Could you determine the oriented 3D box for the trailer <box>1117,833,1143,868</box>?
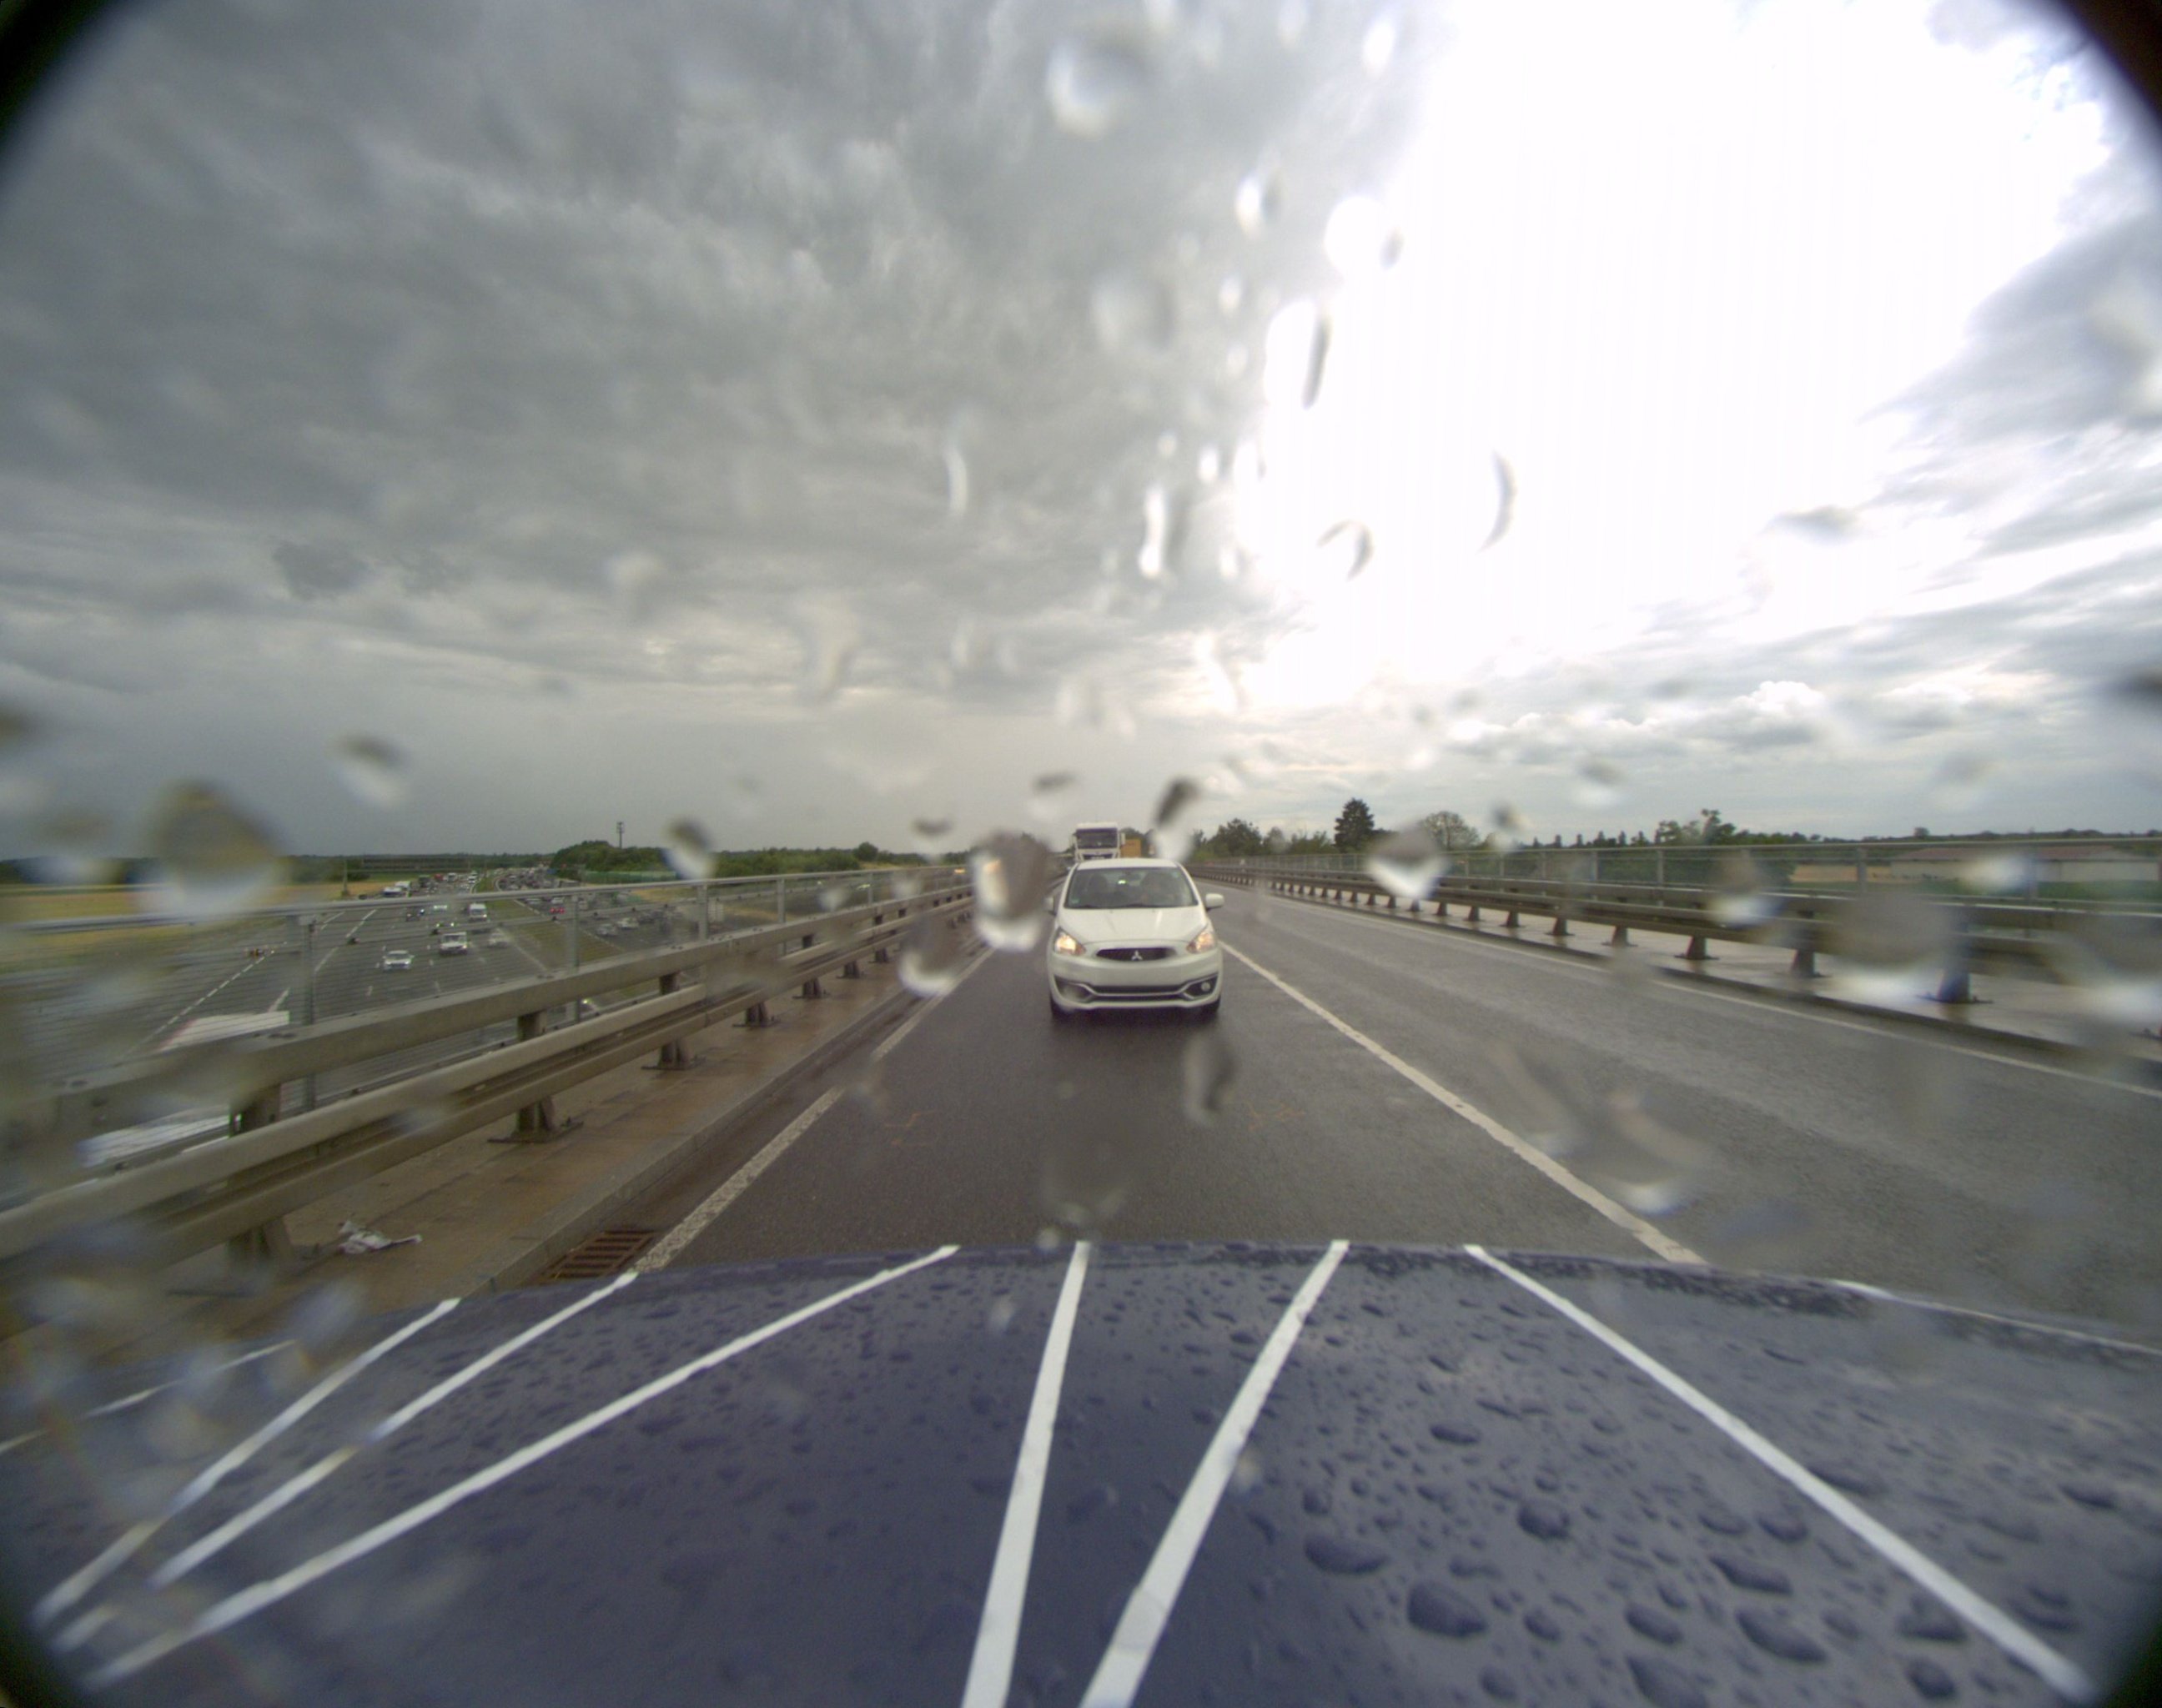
[{"bbox_3d":[5.983,-0.380,94.075,2.689,4.051,8.485,-2,0,1],"label":"trailer"}]

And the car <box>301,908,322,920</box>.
[{"bbox_3d":[-113.844,8.915,112.481,1.818,1.427,4.711,-3,1,-41],"label":"car"}]

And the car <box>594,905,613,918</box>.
[{"bbox_3d":[-73.859,8.880,117.488,1.860,1.659,4.712,-3,1,-40],"label":"car"}]

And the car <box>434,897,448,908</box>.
[{"bbox_3d":[-118.761,8.958,141.083,1.860,1.659,4.712,-3,1,-40],"label":"car"}]

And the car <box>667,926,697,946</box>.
[{"bbox_3d":[-42.762,8.720,81.369,1.860,1.659,4.712,-3,1,-40],"label":"car"}]

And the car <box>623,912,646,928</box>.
[{"bbox_3d":[-59.077,8.729,100.437,1.860,1.659,4.712,-3,1,-40],"label":"car"}]

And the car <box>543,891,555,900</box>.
[{"bbox_3d":[-121.069,9.497,172.960,1.860,1.764,4.712,-3,1,-40],"label":"car"}]

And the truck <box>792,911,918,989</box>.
[{"bbox_3d":[-18.120,7.164,59.612,3.611,4.511,15.588,-3,1,-39],"label":"truck"}]

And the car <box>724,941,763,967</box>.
[{"bbox_3d":[-29.808,8.781,67.004,1.860,1.659,4.712,-3,1,-40],"label":"car"}]

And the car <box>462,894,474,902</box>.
[{"bbox_3d":[-135.941,9.718,168.528,1.860,1.659,4.712,-3,1,-40],"label":"car"}]

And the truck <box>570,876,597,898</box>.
[{"bbox_3d":[-128.359,8.300,195.926,3.500,5.321,15.588,-3,1,-40],"label":"truck"}]

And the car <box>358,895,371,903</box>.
[{"bbox_3d":[-158.037,9.881,167.657,1.818,1.427,4.711,-3,1,-41],"label":"car"}]

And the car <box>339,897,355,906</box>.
[{"bbox_3d":[-147.925,9.559,153.124,1.860,1.659,4.712,-3,1,-40],"label":"car"}]

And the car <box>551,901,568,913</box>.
[{"bbox_3d":[-86.235,8.756,125.568,1.860,1.659,4.712,-3,1,-40],"label":"car"}]

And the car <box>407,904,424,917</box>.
[{"bbox_3d":[-104.043,8.797,118.832,1.860,1.659,4.712,-3,1,-40],"label":"car"}]

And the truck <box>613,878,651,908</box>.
[{"bbox_3d":[-83.439,7.145,140.934,3.302,5.135,15.588,-3,1,-40],"label":"truck"}]

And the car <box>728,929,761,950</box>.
[{"bbox_3d":[-34.727,8.774,78.316,1.860,1.659,4.712,-3,1,-40],"label":"car"}]

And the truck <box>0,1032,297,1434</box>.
[{"bbox_3d":[-20.009,7.222,16.764,2.691,4.599,9.727,-3,1,-40],"label":"truck"}]

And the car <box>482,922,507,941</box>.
[{"bbox_3d":[-63.512,8.337,82.285,1.818,1.659,4.712,-3,1,-40],"label":"car"}]

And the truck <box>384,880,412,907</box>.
[{"bbox_3d":[-138.022,7.910,153.684,2.799,4.871,12.724,-3,1,-36],"label":"truck"}]

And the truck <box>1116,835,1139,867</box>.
[{"bbox_3d":[6.238,-0.415,103.324,2.689,3.993,10.055,-2,0,1],"label":"truck"}]

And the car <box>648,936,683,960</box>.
[{"bbox_3d":[-37.791,8.543,69.125,1.860,1.659,4.712,-3,1,-40],"label":"car"}]

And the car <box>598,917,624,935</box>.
[{"bbox_3d":[-55.110,8.442,89.073,1.860,1.659,4.712,-3,1,-40],"label":"car"}]

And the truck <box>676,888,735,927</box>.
[{"bbox_3d":[-50.980,7.046,102.829,3.611,4.511,15.588,-3,1,-39],"label":"truck"}]

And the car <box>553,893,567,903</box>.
[{"bbox_3d":[-107.781,9.057,157.088,1.860,1.764,4.712,-3,1,-40],"label":"car"}]

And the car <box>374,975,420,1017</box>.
[{"bbox_3d":[-41.079,8.469,45.707,1.818,1.659,4.712,-3,1,-40],"label":"car"}]

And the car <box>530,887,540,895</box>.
[{"bbox_3d":[-146.974,9.943,204.475,1.860,1.764,4.712,-3,1,-40],"label":"car"}]

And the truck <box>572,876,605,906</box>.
[{"bbox_3d":[-97.799,7.174,150.595,3.302,5.411,15.588,-3,1,-40],"label":"truck"}]

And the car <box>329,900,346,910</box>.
[{"bbox_3d":[-136.658,9.357,139.655,1.818,1.427,4.711,-3,1,-41],"label":"car"}]

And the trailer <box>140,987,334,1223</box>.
[{"bbox_3d":[-26.252,7.277,24.167,2.691,4.602,9.882,-3,1,-40],"label":"trailer"}]

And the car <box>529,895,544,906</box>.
[{"bbox_3d":[-105.282,8.995,146.906,1.860,1.764,4.712,-3,1,-40],"label":"car"}]

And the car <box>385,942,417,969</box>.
[{"bbox_3d":[-57.294,8.511,64.088,1.818,1.659,4.712,-3,1,-40],"label":"car"}]

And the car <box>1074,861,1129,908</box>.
[{"bbox_3d":[0.656,0.973,25.877,1.675,1.366,4.129,-2,0,1],"label":"car"}]

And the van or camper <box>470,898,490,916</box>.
[{"bbox_3d":[-94.016,8.225,118.831,2.063,2.436,7.311,-3,1,-40],"label":"van or camper"}]

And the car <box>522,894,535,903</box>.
[{"bbox_3d":[-118.666,9.487,163.159,1.860,1.764,4.712,-3,1,-40],"label":"car"}]

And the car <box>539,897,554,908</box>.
[{"bbox_3d":[-98.466,8.891,139.910,1.860,1.659,4.712,-3,1,-40],"label":"car"}]

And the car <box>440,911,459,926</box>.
[{"bbox_3d":[-85.548,8.702,102.933,1.818,1.659,4.712,-3,1,-40],"label":"car"}]

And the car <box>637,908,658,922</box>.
[{"bbox_3d":[-62.615,8.731,109.698,1.860,1.659,4.712,-3,1,-40],"label":"car"}]

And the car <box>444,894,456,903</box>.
[{"bbox_3d":[-133.561,9.430,160.820,1.860,1.659,4.712,-3,1,-40],"label":"car"}]

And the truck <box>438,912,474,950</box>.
[{"bbox_3d":[-63.402,7.726,77.114,2.601,3.161,8.373,-3,1,-40],"label":"truck"}]

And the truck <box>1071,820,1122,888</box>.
[{"bbox_3d":[0.808,-0.184,44.478,2.631,3.537,8.474,-2,2,0],"label":"truck"}]

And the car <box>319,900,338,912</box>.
[{"bbox_3d":[-124.705,8.637,125.935,1.860,1.659,4.712,-3,1,-40],"label":"car"}]

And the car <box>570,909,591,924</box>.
[{"bbox_3d":[-70.978,8.841,107.761,1.860,1.659,4.712,-3,1,-40],"label":"car"}]

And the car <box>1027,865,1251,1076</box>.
[{"bbox_3d":[0.474,0.930,7.907,1.675,1.476,4.129,-2,0,1],"label":"car"}]

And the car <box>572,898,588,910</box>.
[{"bbox_3d":[-89.051,8.874,135.012,1.860,1.764,4.712,-3,1,-40],"label":"car"}]

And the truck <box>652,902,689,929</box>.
[{"bbox_3d":[-52.669,7.795,97.419,2.216,2.948,9.284,-3,1,-40],"label":"truck"}]

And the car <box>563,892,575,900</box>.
[{"bbox_3d":[-115.978,9.495,172.066,1.860,1.764,4.712,-3,1,-40],"label":"car"}]

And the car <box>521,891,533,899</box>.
[{"bbox_3d":[-128.289,9.485,176.024,1.860,1.764,4.712,-3,1,-40],"label":"car"}]

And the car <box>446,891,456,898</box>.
[{"bbox_3d":[-160.569,10.249,193.742,1.860,1.659,4.712,-3,1,-40],"label":"car"}]
